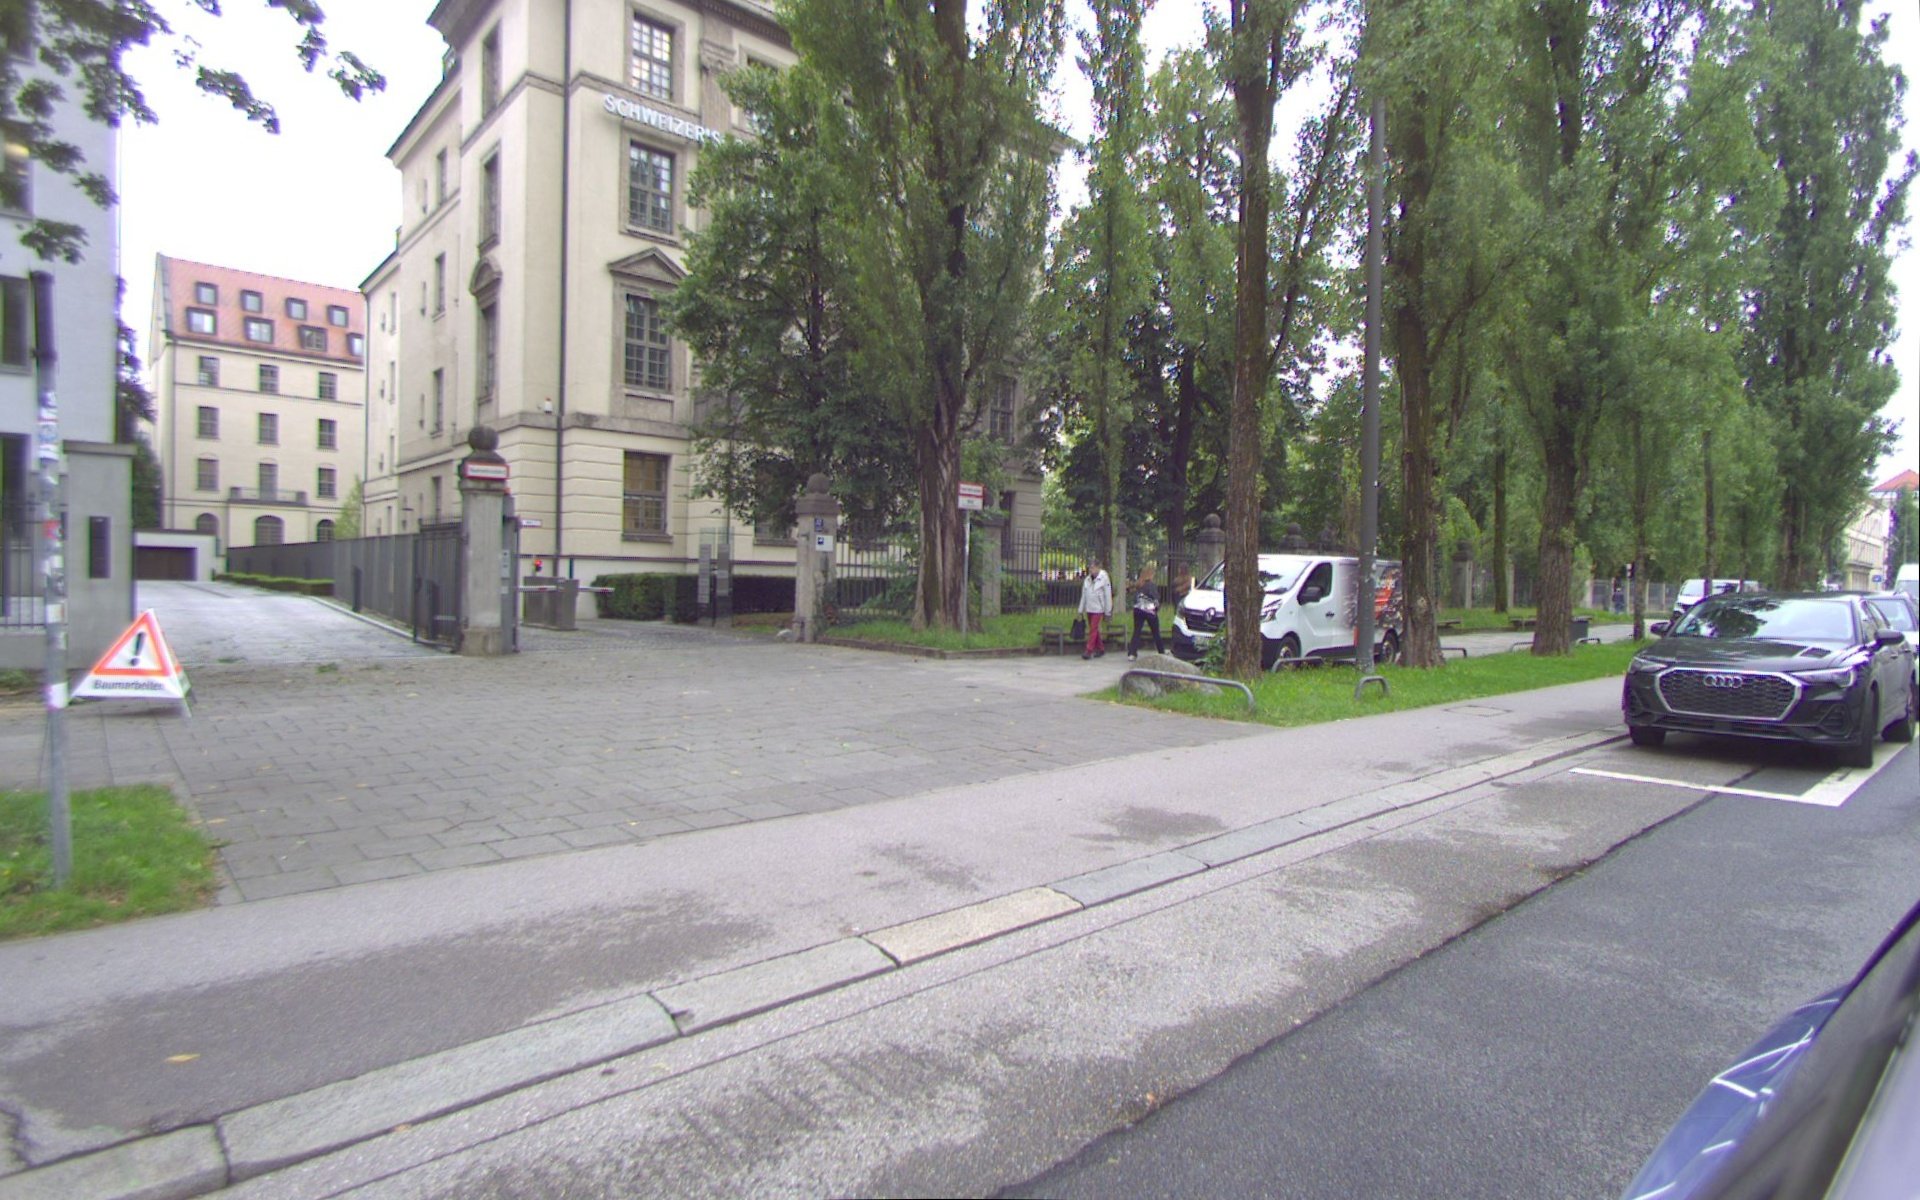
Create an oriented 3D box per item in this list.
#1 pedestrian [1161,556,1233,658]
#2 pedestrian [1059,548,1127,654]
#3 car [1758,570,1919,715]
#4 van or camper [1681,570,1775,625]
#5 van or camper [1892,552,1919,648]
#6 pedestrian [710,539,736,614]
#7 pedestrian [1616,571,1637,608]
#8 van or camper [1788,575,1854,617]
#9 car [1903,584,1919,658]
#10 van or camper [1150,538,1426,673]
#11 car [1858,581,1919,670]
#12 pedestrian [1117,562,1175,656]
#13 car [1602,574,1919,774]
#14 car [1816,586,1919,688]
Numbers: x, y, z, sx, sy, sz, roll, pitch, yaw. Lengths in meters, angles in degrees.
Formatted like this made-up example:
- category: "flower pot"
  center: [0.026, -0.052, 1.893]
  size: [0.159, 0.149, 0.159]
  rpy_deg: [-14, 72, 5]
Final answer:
- category: "pedestrian"
  center: [4.198, 0.104, 17.926]
  size: [0.852, 1.738, 0.855]
  rpy_deg: [0, 2, -42]
- category: "pedestrian"
  center: [2.347, 0.010, 17.879]
  size: [0.852, 1.791, 0.723]
  rpy_deg: [0, 4, -41]
- category: "car"
  center: [12.562, 0.493, 13.905]
  size: [4.501, 1.696, 1.746]
  rpy_deg: [0, 1, -42]
- category: "van or camper"
  center: [29.029, -0.105, 38.190]
  size: [4.952, 1.958, 1.978]
  rpy_deg: [0, 0, -42]
- category: "van or camper"
  center: [28.409, -0.001, 28.803]
  size: [6.306, 2.572, 2.142]
  rpy_deg: [0, 1, -42]
- category: "pedestrian"
  center: [-6.555, -0.646, 27.983]
  size: [0.536, 2.038, 0.456]
  rpy_deg: [0, 1, -41]
- category: "pedestrian"
  center: [37.044, -0.602, 56.261]
  size: [0.898, 2.038, 0.946]
  rpy_deg: [2, 1, 33]
- category: "van or camper"
  center: [43.337, -0.194, 50.919]
  size: [4.902, 2.039, 2.005]
  rpy_deg: [0, 0, -43]
- category: "car"
  center: [23.580, 0.491, 23.807]
  size: [4.344, 1.669, 1.786]
  rpy_deg: [0, 1, -44]
- category: "van or camper"
  center: [5.717, 0.068, 17.236]
  size: [5.275, 1.958, 2.080]
  rpy_deg: [0, 0, -41]
- category: "car"
  center: [19.683, 0.488, 20.435]
  size: [4.558, 1.638, 1.787]
  rpy_deg: [0, 1, -42]
- category: "pedestrian"
  center: [3.247, 0.142, 17.682]
  size: [0.852, 1.598, 0.568]
  rpy_deg: [0, 2, -42]
- category: "car"
  center: [8.261, 0.572, 10.164]
  size: [4.386, 1.560, 1.884]
  rpy_deg: [0, 1, -41]
- category: "car"
  center: [16.080, 0.572, 17.245]
  size: [4.221, 1.539, 1.705]
  rpy_deg: [0, 1, -42]
